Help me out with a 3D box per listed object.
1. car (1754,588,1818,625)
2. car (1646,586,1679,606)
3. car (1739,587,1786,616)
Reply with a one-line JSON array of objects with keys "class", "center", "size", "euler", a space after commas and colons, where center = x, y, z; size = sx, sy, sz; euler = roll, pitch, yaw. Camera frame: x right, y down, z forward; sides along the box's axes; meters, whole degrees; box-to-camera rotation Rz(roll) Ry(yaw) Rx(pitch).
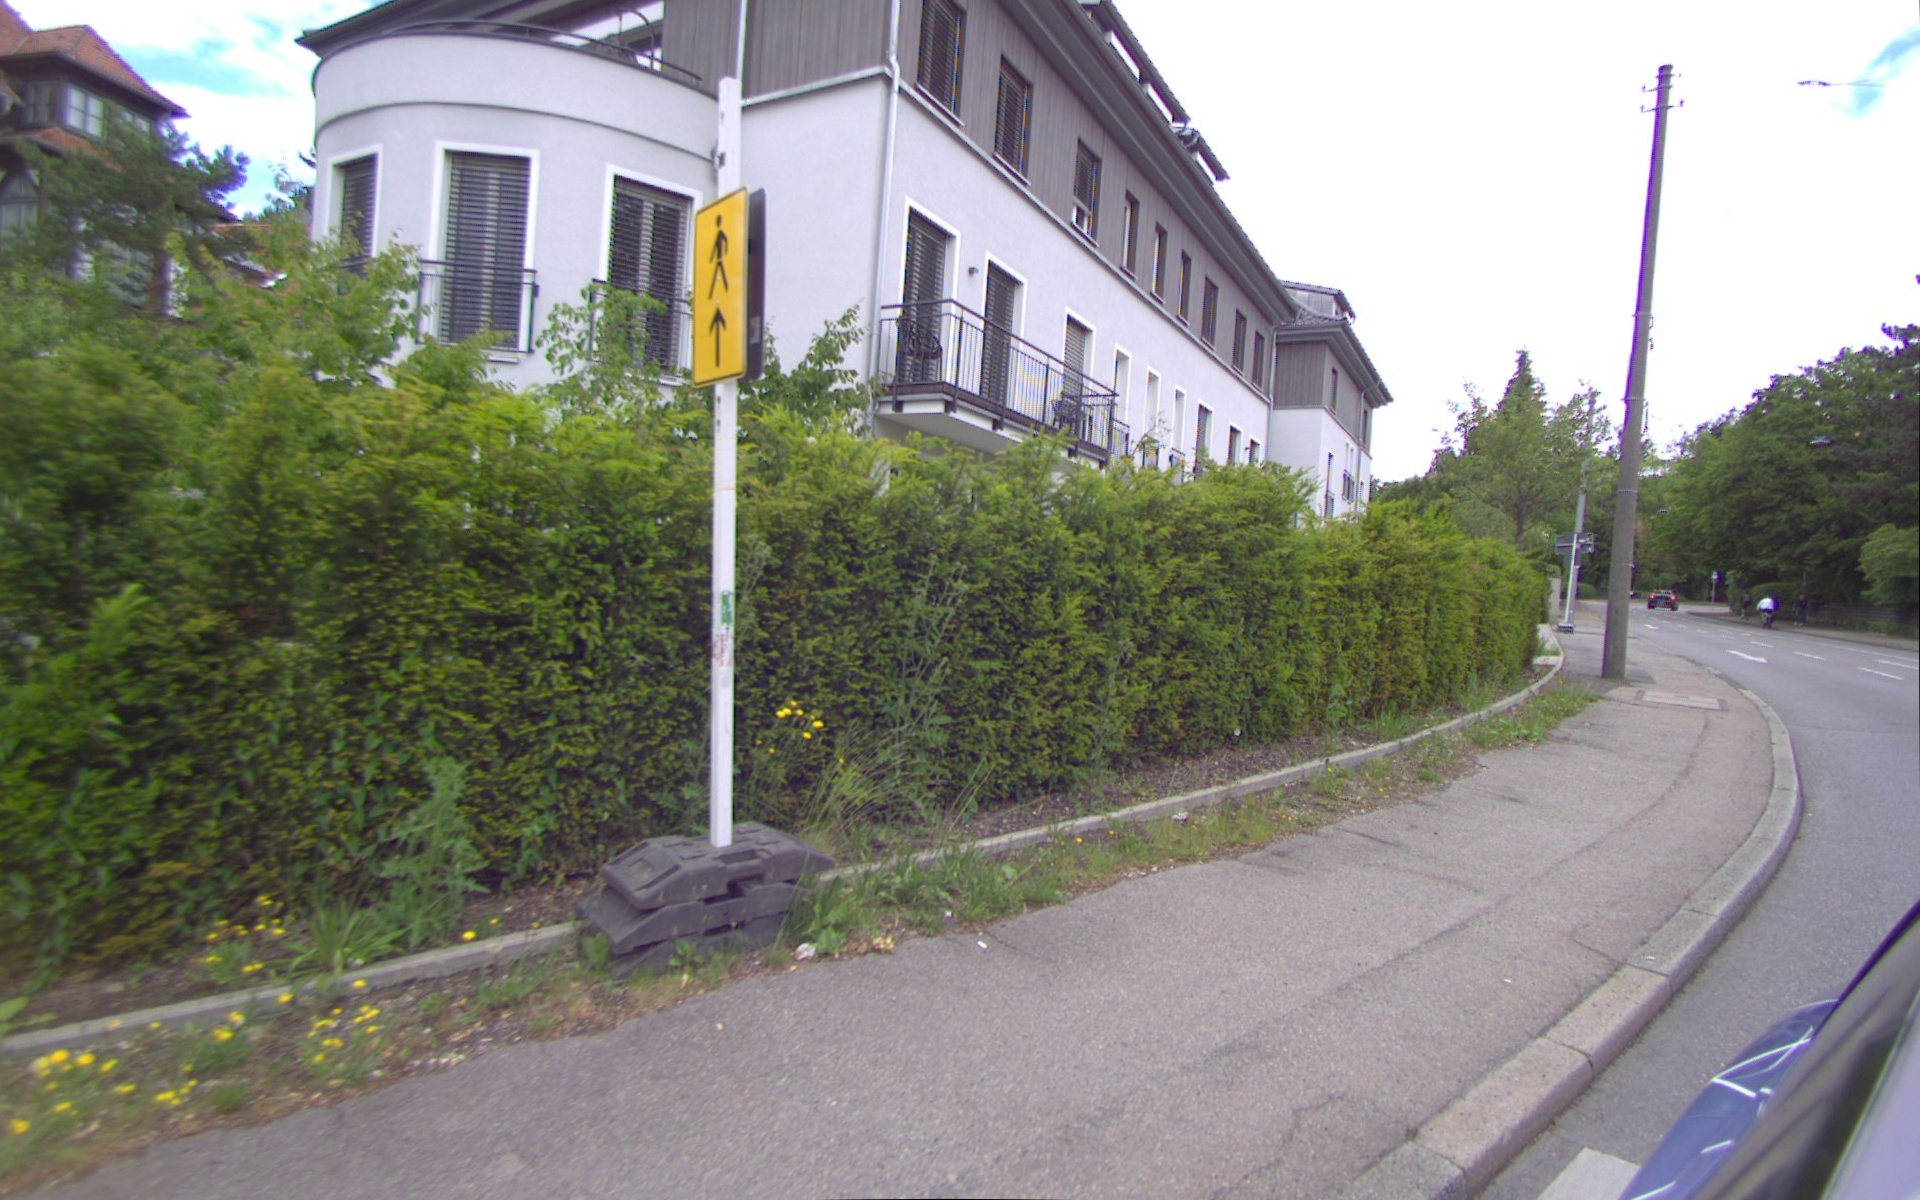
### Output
[{"class": "car", "center": [43.565, 0.314, 53.454], "size": [1.916, 1.700, 3.534], "euler": [5, 3, 29]}, {"class": "car", "center": [58.580, -0.347, 84.424], "size": [1.986, 1.536, 3.954], "euler": [4, 3, 32]}, {"class": "car", "center": [50.968, 0.046, 64.339], "size": [1.668, 1.649, 3.584], "euler": [5, 3, 29]}]
